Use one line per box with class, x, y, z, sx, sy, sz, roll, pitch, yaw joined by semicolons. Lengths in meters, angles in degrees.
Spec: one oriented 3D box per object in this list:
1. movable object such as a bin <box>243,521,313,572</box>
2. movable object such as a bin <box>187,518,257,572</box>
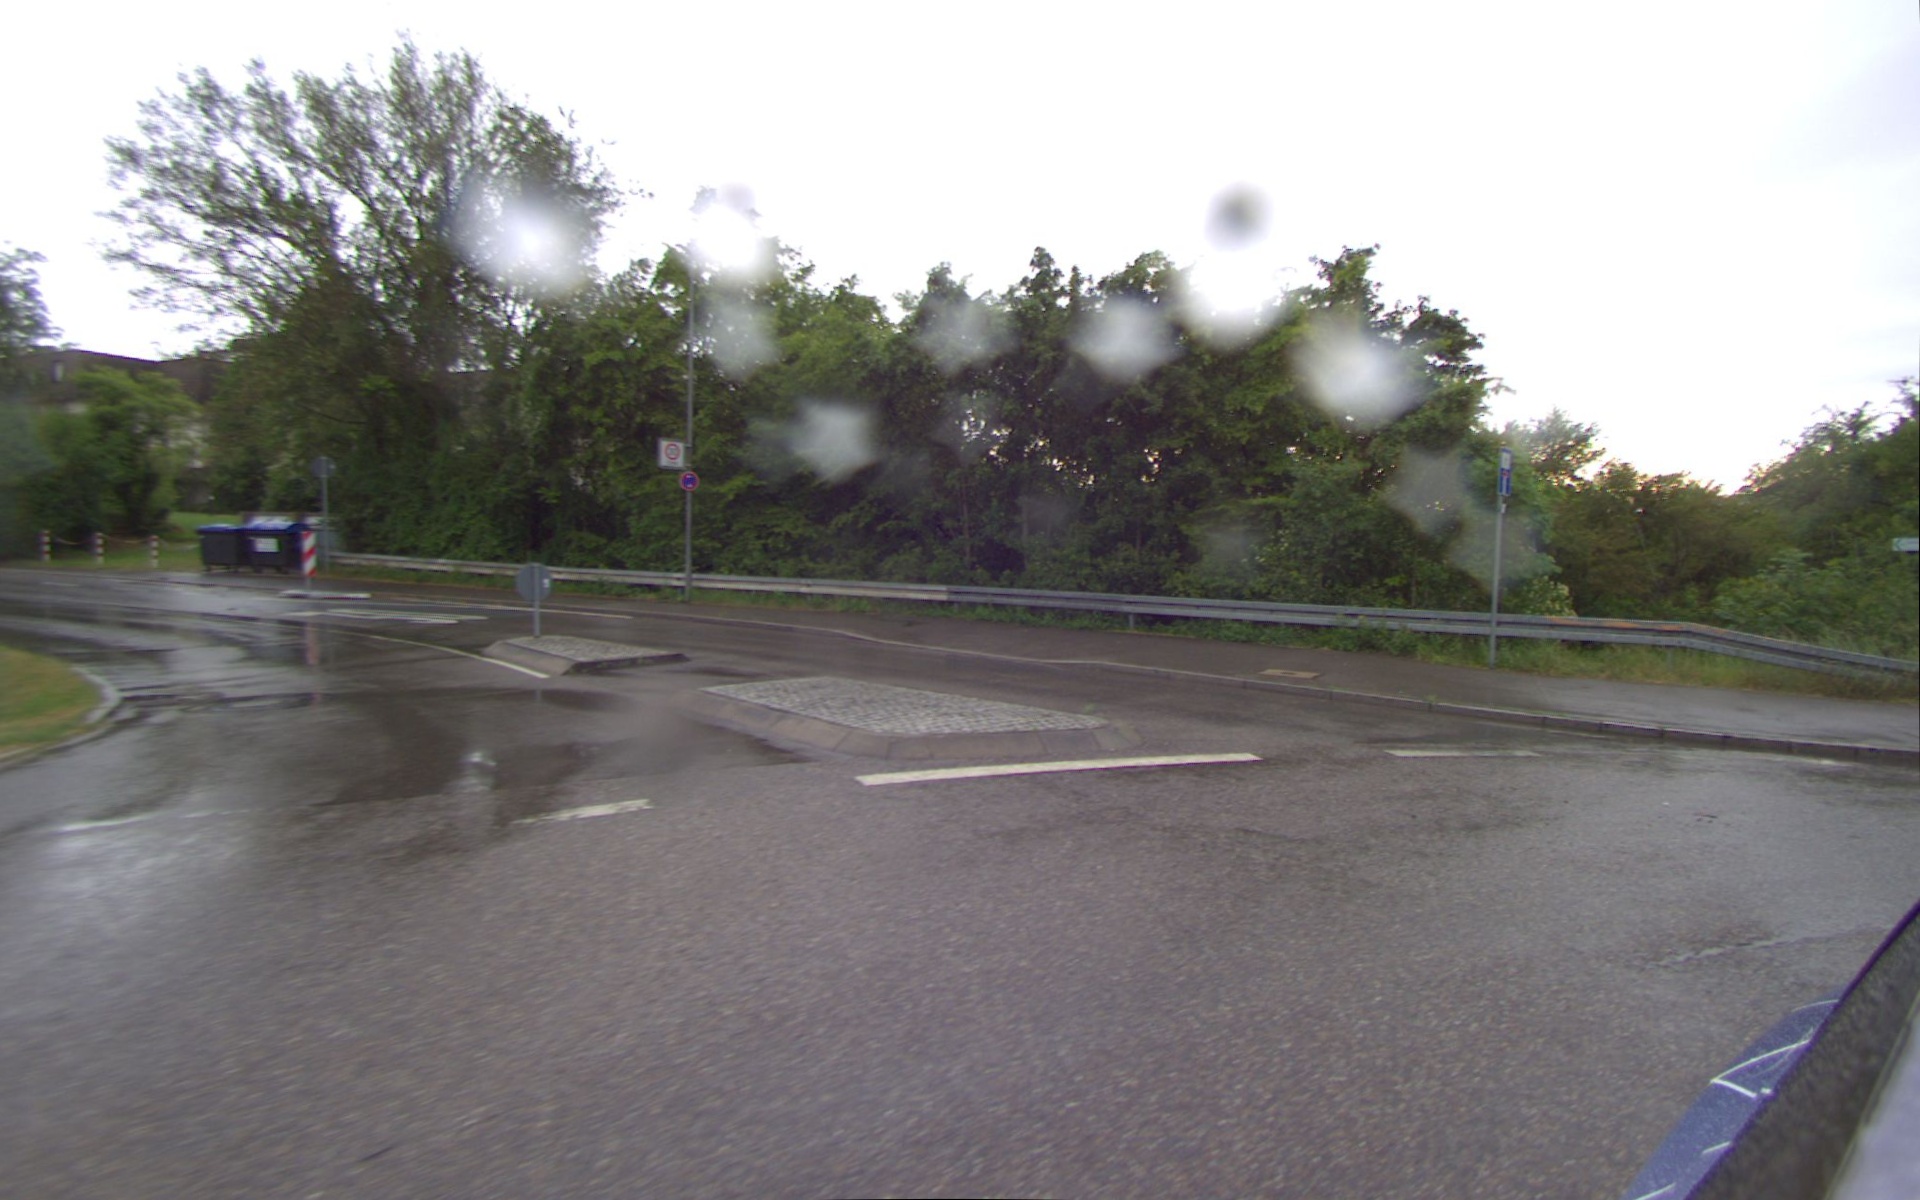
movable object such as a bin;-19.123;-1.510;28.405;1.059;1.357;1.195;2;5;12
movable object such as a bin;-20.683;-1.534;28.381;1.058;1.454;1.194;2;2;12
